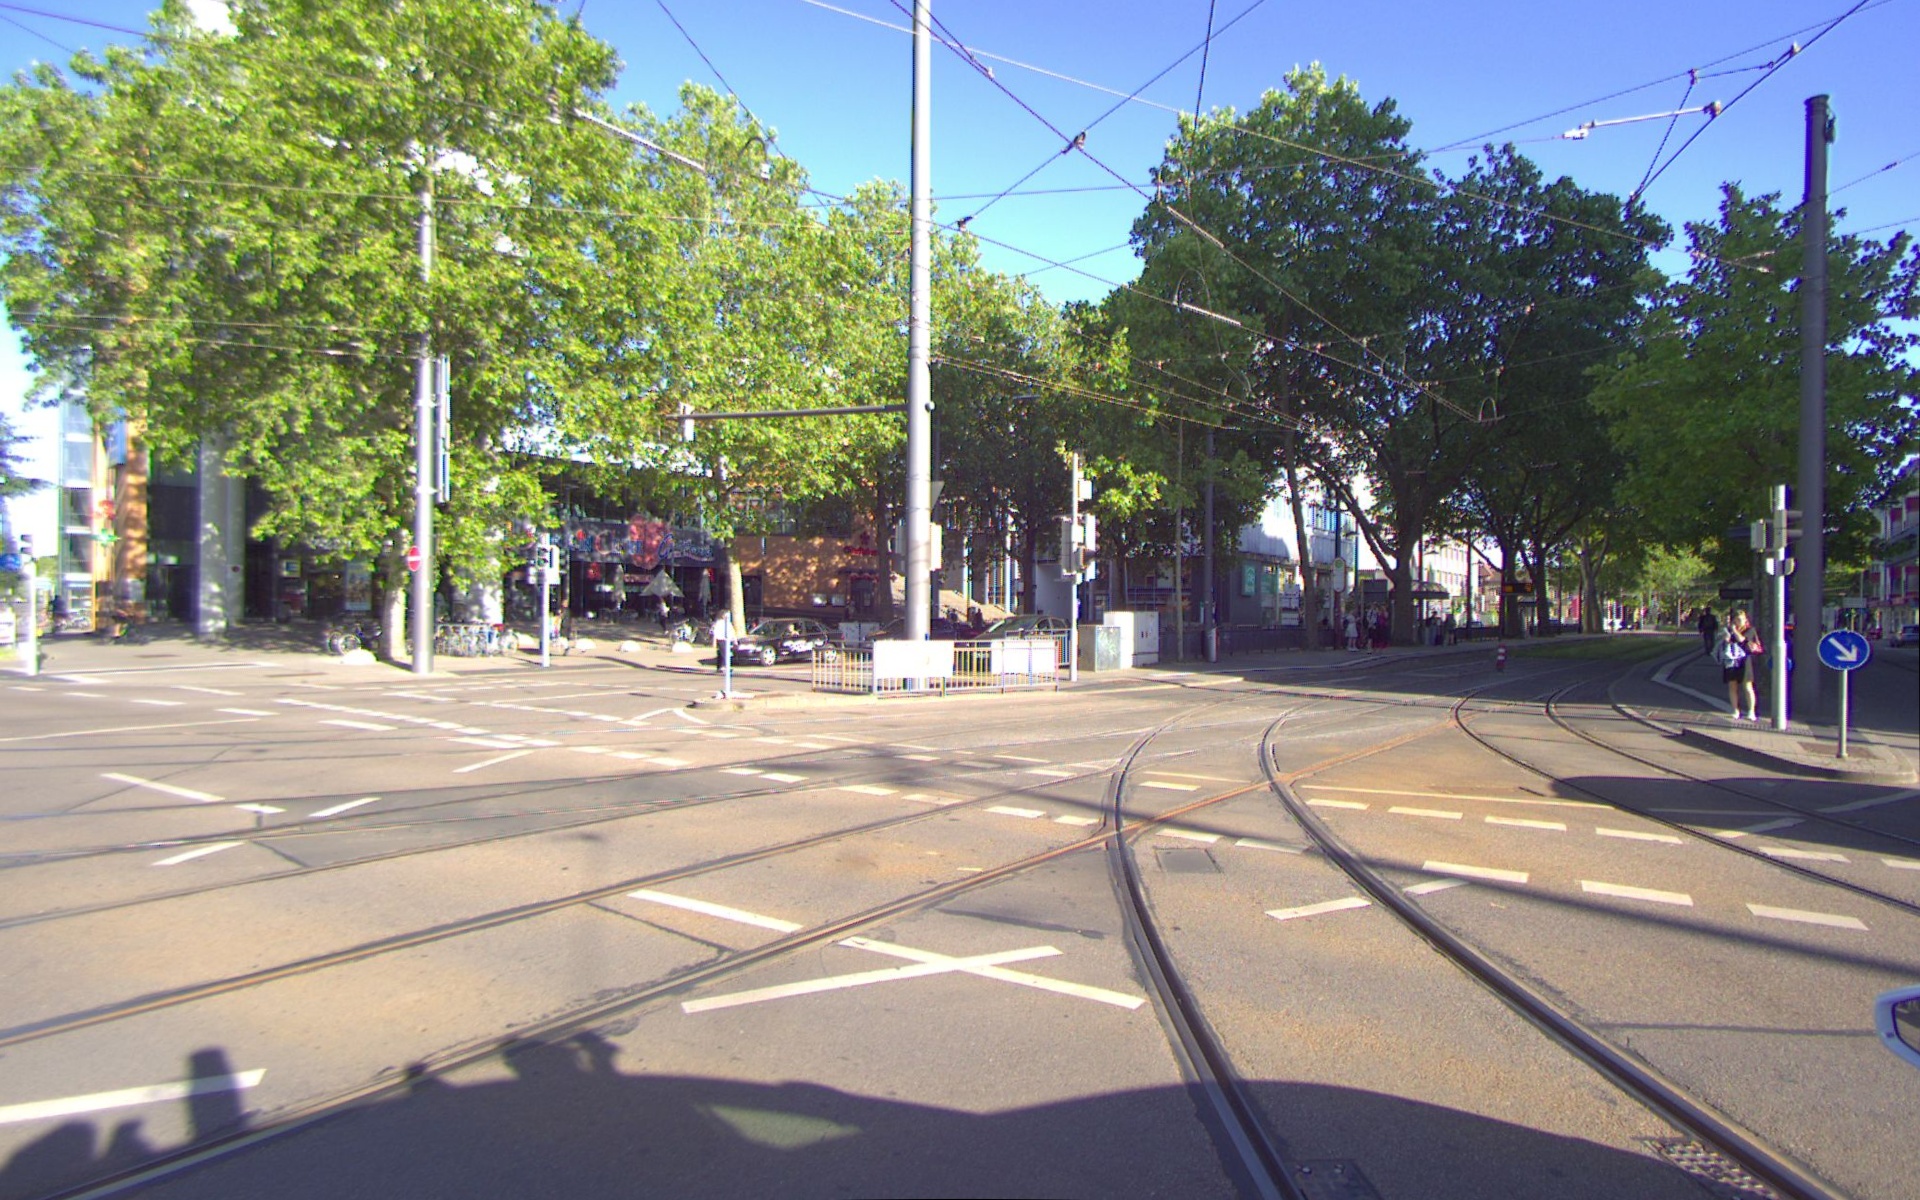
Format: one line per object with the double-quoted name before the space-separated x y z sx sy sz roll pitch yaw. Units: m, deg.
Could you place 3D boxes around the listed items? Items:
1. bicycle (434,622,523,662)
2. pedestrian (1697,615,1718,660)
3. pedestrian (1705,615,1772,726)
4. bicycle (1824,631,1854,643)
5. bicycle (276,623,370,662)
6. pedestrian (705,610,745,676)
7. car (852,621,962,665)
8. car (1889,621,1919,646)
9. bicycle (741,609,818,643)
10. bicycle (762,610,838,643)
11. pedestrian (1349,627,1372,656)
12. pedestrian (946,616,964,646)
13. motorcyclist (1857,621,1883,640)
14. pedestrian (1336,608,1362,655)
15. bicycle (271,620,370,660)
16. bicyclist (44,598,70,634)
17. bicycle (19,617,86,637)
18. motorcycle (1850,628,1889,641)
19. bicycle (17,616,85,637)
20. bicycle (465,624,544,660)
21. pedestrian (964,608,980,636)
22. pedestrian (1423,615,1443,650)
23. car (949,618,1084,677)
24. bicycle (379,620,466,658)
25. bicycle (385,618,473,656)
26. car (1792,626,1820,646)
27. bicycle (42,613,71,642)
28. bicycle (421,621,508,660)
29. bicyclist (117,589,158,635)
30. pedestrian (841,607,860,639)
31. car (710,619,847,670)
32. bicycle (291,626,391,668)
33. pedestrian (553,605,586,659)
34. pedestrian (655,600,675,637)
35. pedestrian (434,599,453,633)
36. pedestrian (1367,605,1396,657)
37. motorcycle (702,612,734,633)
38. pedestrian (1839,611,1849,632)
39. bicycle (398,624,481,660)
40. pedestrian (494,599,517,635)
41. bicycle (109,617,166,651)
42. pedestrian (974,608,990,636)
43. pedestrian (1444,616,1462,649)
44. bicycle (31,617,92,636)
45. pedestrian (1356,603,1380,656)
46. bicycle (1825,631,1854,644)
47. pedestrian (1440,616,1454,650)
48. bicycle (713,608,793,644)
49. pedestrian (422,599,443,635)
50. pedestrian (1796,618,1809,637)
"bicycle" -14.316 1.239 29.916 0.590 1.143 2.356 0 -1 40
"pedestrian" 28.198 1.407 37.893 0.597 1.702 0.484 -1 -2 39
"pedestrian" 12.400 1.098 16.004 0.825 1.702 0.707 1 -2 -43
"bicycle" 92.606 3.896 105.800 2.328 1.250 0.680 1 0 41
"bicycle" -19.452 1.282 30.730 0.590 1.143 2.355 0 -1 41
"pedestrian" -6.175 1.121 26.405 0.711 1.702 0.821 1 -2 -42
"car" -1.856 1.523 36.097 1.646 1.425 3.981 1 -1 40
"car" 65.532 2.301 69.463 1.652 1.674 3.674 1 0 39
"bicycle" -7.771 1.121 43.226 3.299 1.371 1.034 1 0 26
"bicycle" -7.109 1.177 44.593 3.299 1.371 1.034 1 0 26
"pedestrian" 17.015 1.755 42.659 0.737 1.179 0.586 1 0 -36
"pedestrian" -0.257 1.734 56.149 0.688 1.674 0.703 1 0 39
"motorcyclist" 86.319 2.908 95.293 1.282 1.721 1.238 1 0 9
"pedestrian" 15.264 1.230 39.413 0.737 1.824 0.586 1 0 -36
"bicycle" -18.650 1.154 29.350 0.590 1.143 2.355 0 -1 41
"bicyclist" -37.790 0.655 42.032 0.743 1.480 0.690 1 0 41
"bicycle" -50.073 1.485 55.472 2.668 1.118 0.886 1 -1 -38
"motorcycle" 86.335 3.246 95.406 1.282 1.072 3.099 1 0 9
"bicycle" -49.438 1.464 54.654 2.668 1.118 0.886 1 -1 -38
"bicycle" -15.029 1.380 33.188 0.590 1.143 2.356 0 -1 40
"pedestrian" 0.726 1.354 61.469 0.688 1.674 0.703 0 -1 39
"pedestrian" 21.938 1.511 46.607 0.659 1.594 0.485 0 1 -8
"car" 1.594 1.245 27.063 1.645 1.433 3.983 1 -1 38
"bicycle" -16.877 1.200 31.603 0.590 1.143 2.356 0 -1 40
"bicycle" -16.427 1.139 31.118 0.590 1.143 2.356 0 -1 40
"car" 68.100 2.857 80.889 1.593 1.522 3.675 1 0 38
"bicycle" -37.774 1.126 42.005 1.824 1.152 0.690 1 0 41
"bicycle" -15.186 1.227 30.867 0.590 1.143 2.356 0 -1 40
"bicyclist" -28.529 0.427 34.844 0.924 1.569 0.892 0 -1 36
"pedestrian" -5.917 1.234 54.198 0.688 1.674 0.703 1 0 39
"car" -5.489 1.342 30.796 1.646 1.425 3.981 1 -1 40
"bicycle" -17.496 1.318 28.454 0.590 1.143 2.355 0 -1 41
"pedestrian" -12.592 1.024 32.404 0.819 1.702 0.712 -1 -2 42
"pedestrian" -14.696 0.923 50.039 0.700 1.791 0.691 1 0 -38
"pedestrian" -25.190 0.775 48.975 0.700 1.674 0.690 1 0 -40
"pedestrian" 15.187 1.119 36.221 0.733 1.853 0.590 1 0 -20
"motorcycle" -13.549 1.252 56.196 0.825 1.072 2.316 1 0 -40
"pedestrian" 123.320 2.993 140.156 0.905 2.910 1.146 1 0 38
"bicycle" -16.870 1.341 32.623 0.590 1.143 2.356 0 -1 40
"pedestrian" -21.198 0.783 46.856 0.692 1.674 0.698 1 0 0
"bicycle" -28.537 1.169 34.826 2.648 1.118 0.893 0 -1 36
"pedestrian" 1.345 1.353 60.969 0.688 1.674 0.703 1 0 39
"pedestrian" 23.915 1.572 48.686 0.633 1.594 0.559 -1 2 -39
"bicycle" -53.760 1.570 60.129 2.668 1.118 0.886 1 -1 -38
"pedestrian" 14.490 1.045 35.695 0.625 1.853 0.742 1 0 34
"bicycle" 93.790 3.965 107.151 2.328 1.250 0.680 1 0 41
"pedestrian" 23.433 1.571 48.357 0.495 1.594 0.491 1 2 43
"bicycle" -8.532 1.048 41.346 3.299 1.371 1.034 1 0 26
"pedestrian" -24.988 0.812 47.595 0.694 1.674 0.696 1 0 -45
"pedestrian" 124.696 4.071 148.647 1.127 2.910 0.920 1 0 6
